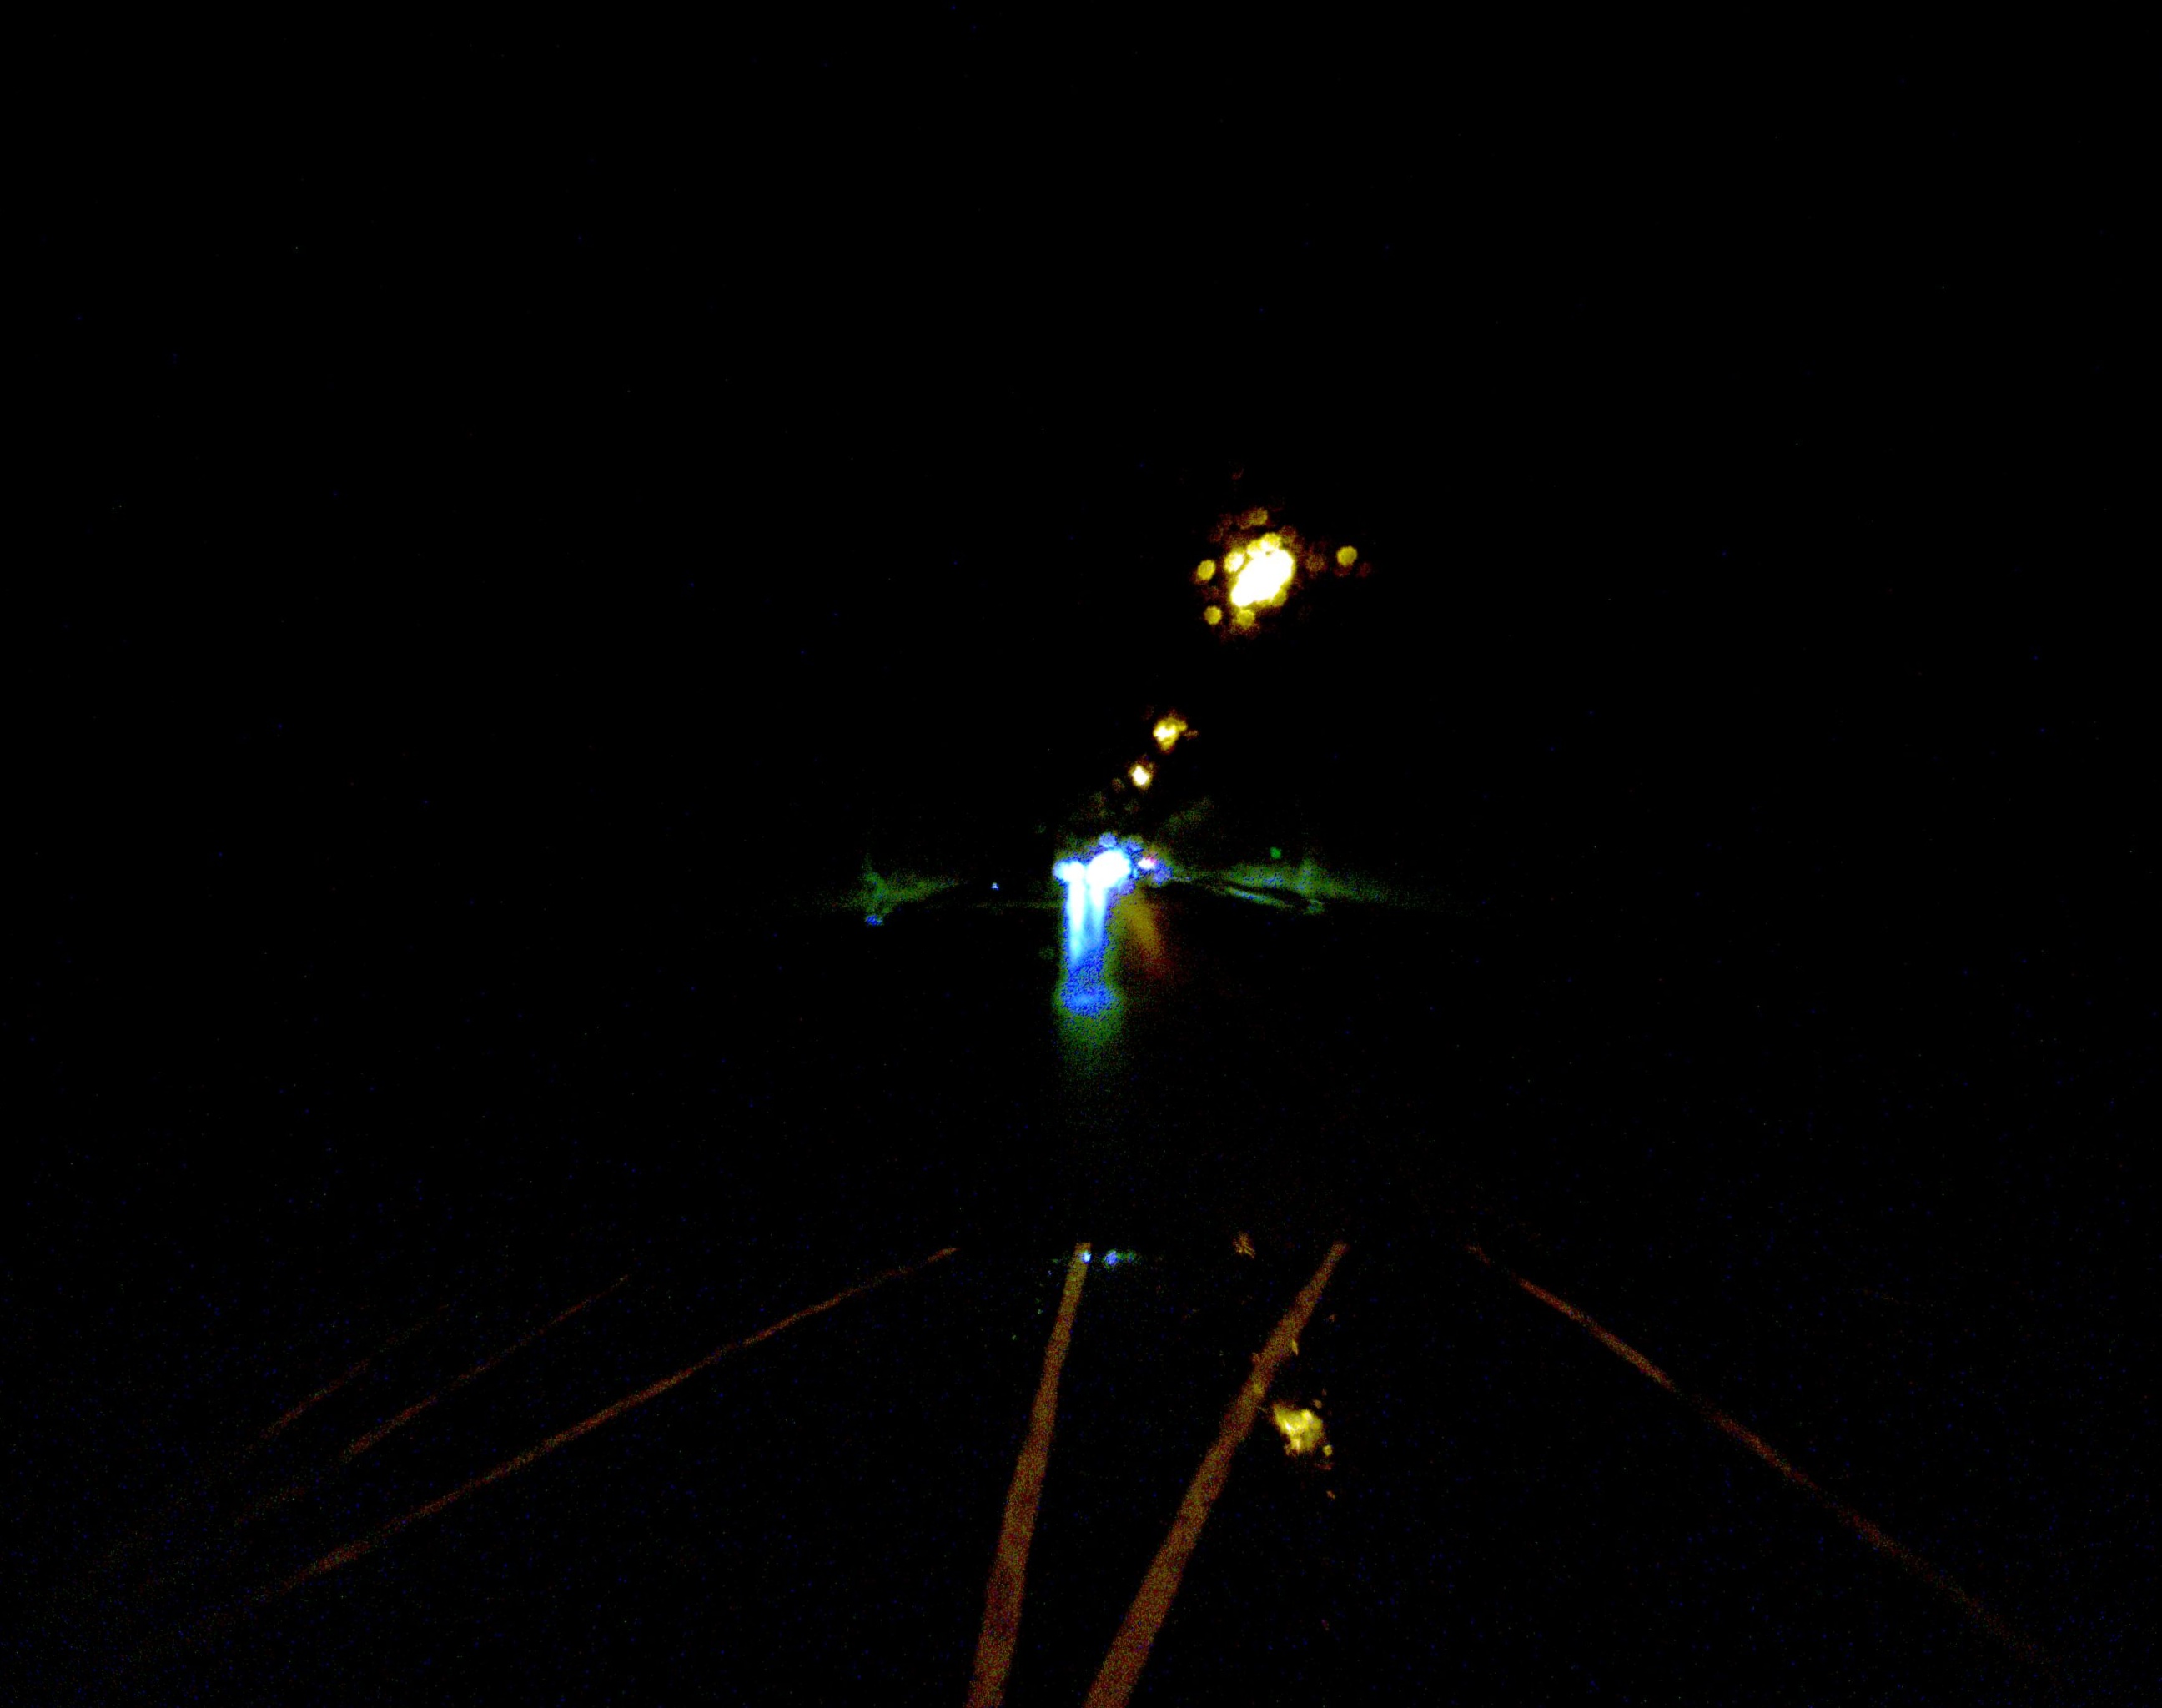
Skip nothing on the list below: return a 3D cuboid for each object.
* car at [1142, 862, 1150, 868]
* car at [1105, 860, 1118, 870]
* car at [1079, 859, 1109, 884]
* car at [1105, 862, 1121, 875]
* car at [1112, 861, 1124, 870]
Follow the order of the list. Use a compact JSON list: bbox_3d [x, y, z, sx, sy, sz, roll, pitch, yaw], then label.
[{"bbox_3d":[17.482,2.958,204.157,1.998,1.576,4.001,-1,0,3],"label":"car"},{"bbox_3d":[4.768,1.716,119.168,1.998,1.576,4.000,-2,0,1],"label":"car"},{"bbox_3d":[0.879,1.183,52.475,1.998,1.576,4.000,0,0,1],"label":"car"},{"bbox_3d":[4.260,1.850,100.479,1.998,1.576,4.000,-2,0,1],"label":"car"},{"bbox_3d":[6.848,2.044,140.018,1.998,1.576,4.001,-1,0,3],"label":"car"}]
